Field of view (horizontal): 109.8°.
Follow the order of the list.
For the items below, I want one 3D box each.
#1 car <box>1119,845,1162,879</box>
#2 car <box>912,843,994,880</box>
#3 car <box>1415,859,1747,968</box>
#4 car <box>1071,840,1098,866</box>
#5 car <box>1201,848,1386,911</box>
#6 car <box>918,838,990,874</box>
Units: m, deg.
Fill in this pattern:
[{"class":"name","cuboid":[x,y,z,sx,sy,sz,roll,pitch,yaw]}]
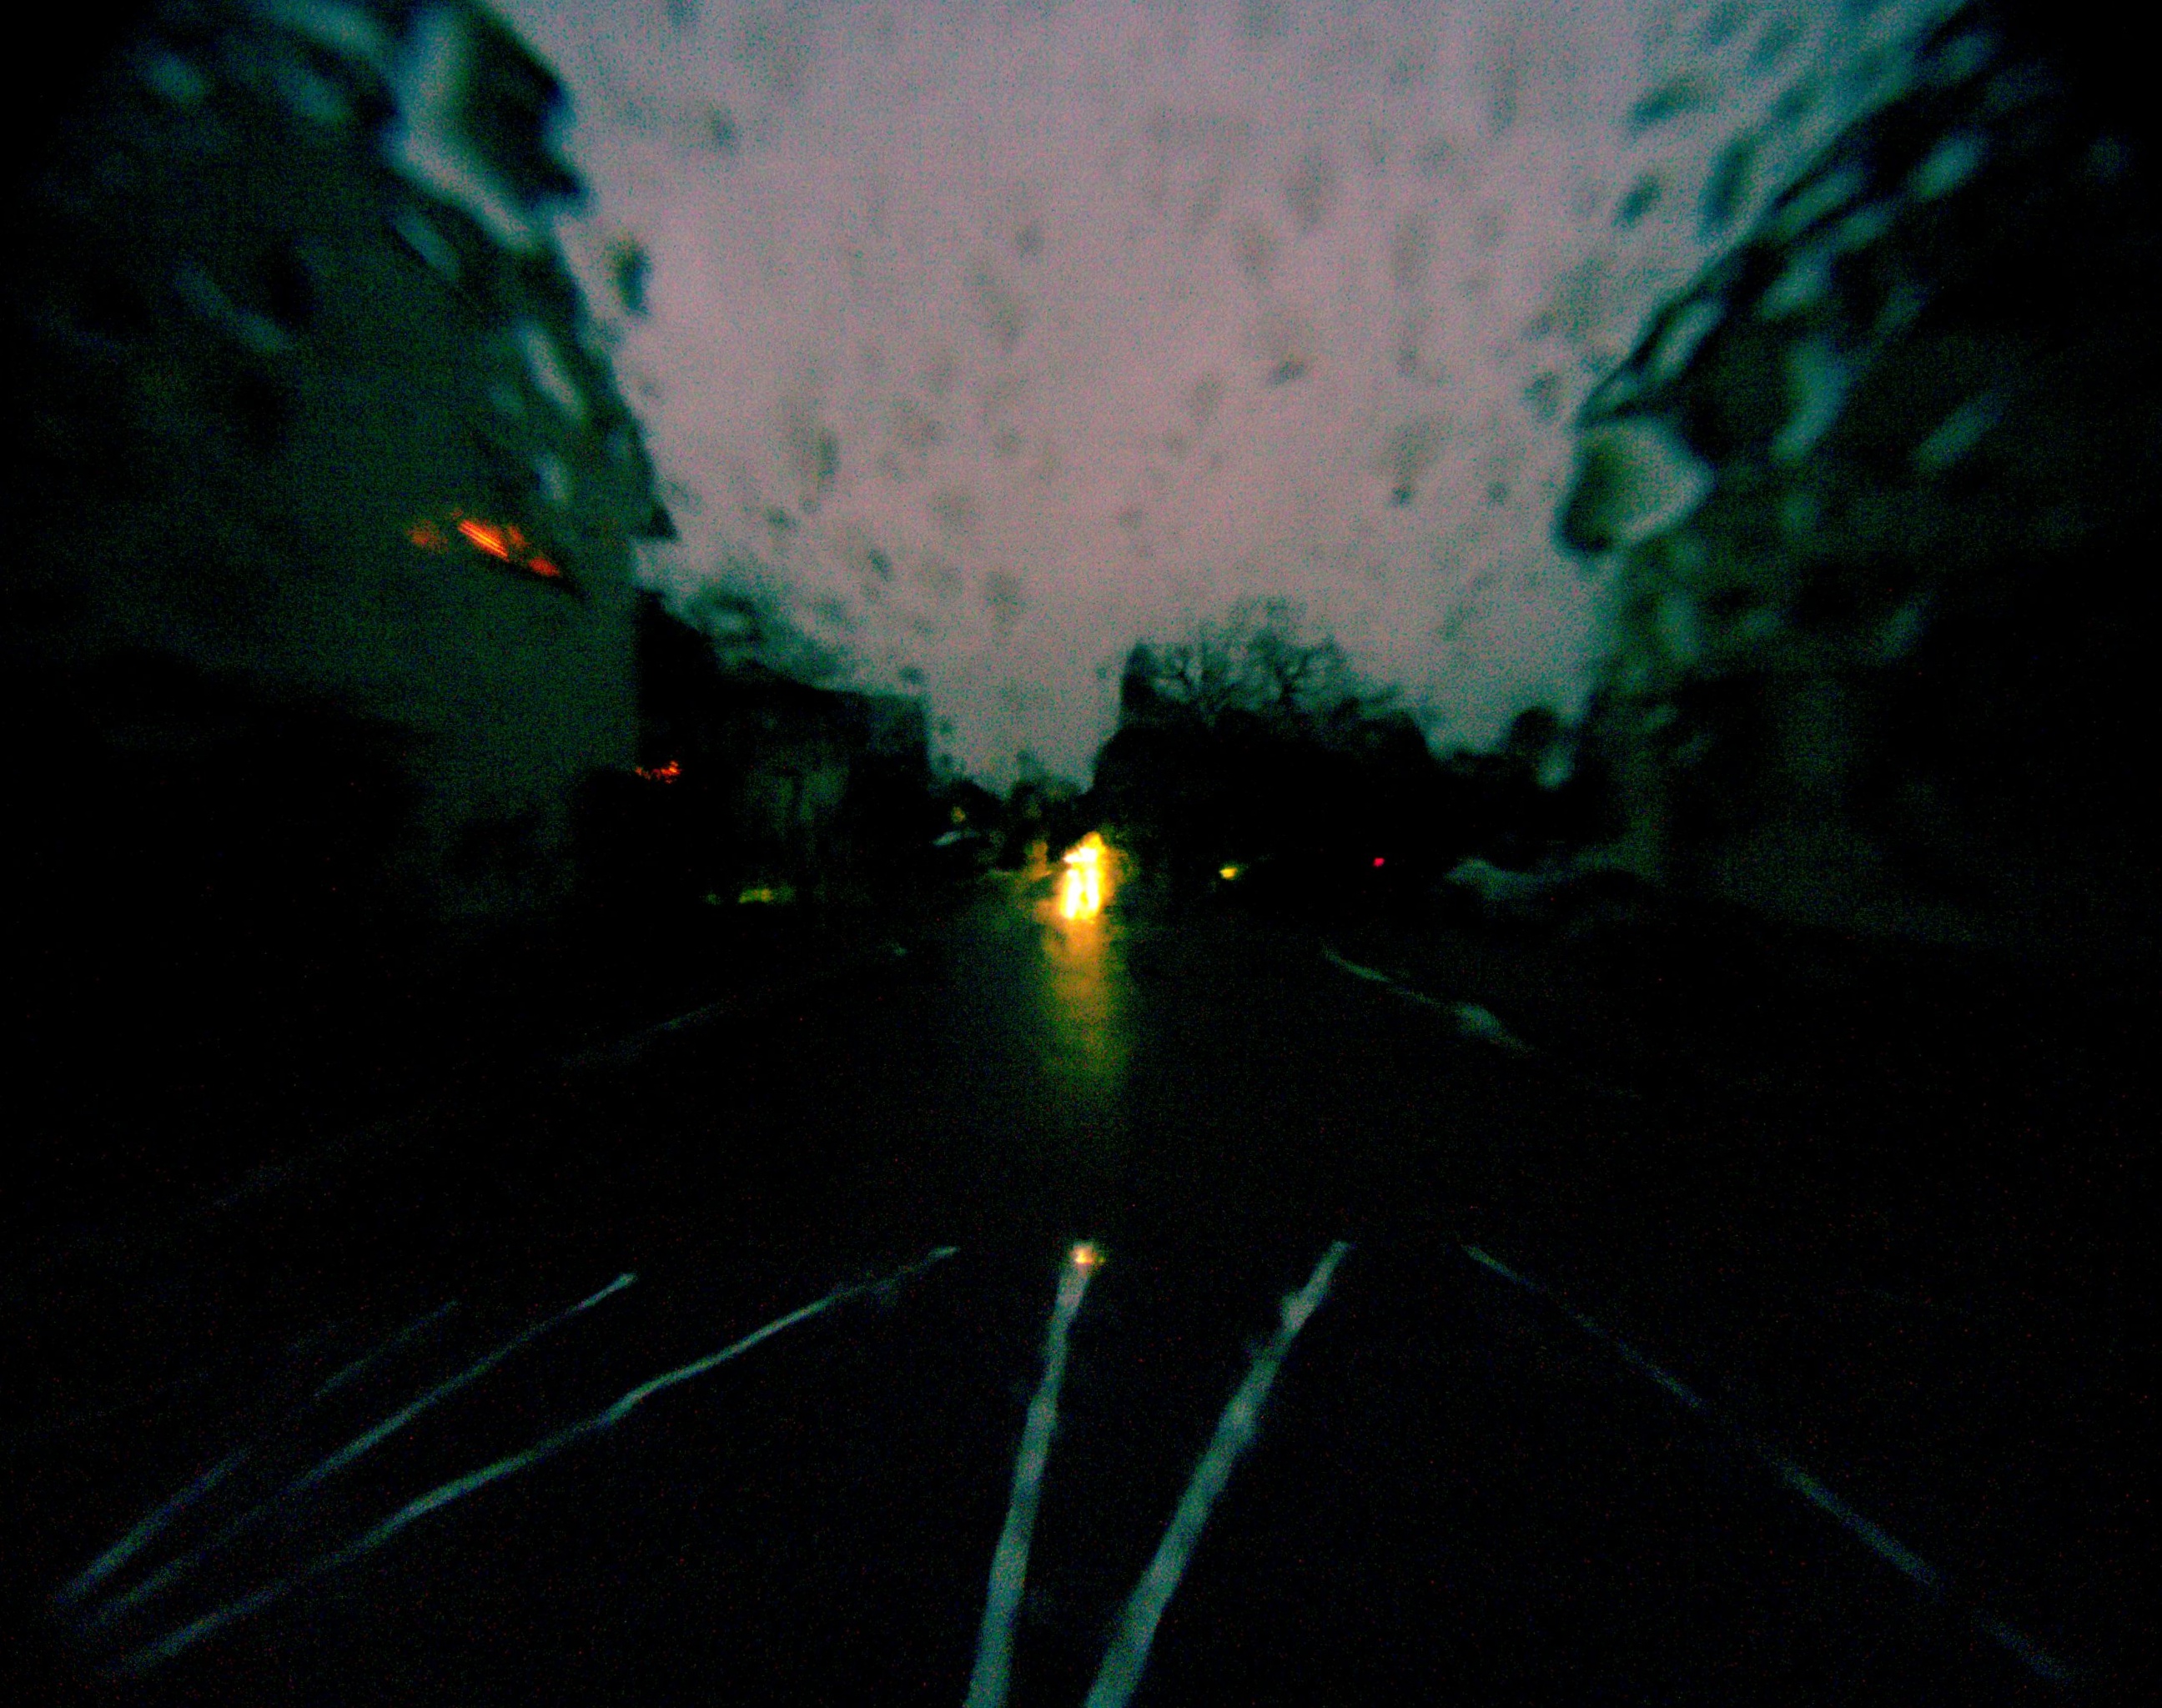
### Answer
[{"class":"car","cuboid":[2.976,0.381,38.783,1.998,1.619,4.000,-1,1,2]},{"class":"car","cuboid":[-6.462,0.340,38.687,3.999,1.783,1.998,-1,1,-6]},{"class":"car","cuboid":[8.078,0.829,12.755,2.003,1.417,4.227,-1,1,-27]},{"class":"car","cuboid":[0.277,-0.128,61.148,1.999,2.002,3.998,-1,1,-2]},{"class":"car","cuboid":[5.729,0.647,20.881,4.479,1.570,1.999,-1,1,-4]},{"class":"car","cuboid":[-7.317,0.093,44.209,3.999,2.002,1.998,-1,1,-6]}]
